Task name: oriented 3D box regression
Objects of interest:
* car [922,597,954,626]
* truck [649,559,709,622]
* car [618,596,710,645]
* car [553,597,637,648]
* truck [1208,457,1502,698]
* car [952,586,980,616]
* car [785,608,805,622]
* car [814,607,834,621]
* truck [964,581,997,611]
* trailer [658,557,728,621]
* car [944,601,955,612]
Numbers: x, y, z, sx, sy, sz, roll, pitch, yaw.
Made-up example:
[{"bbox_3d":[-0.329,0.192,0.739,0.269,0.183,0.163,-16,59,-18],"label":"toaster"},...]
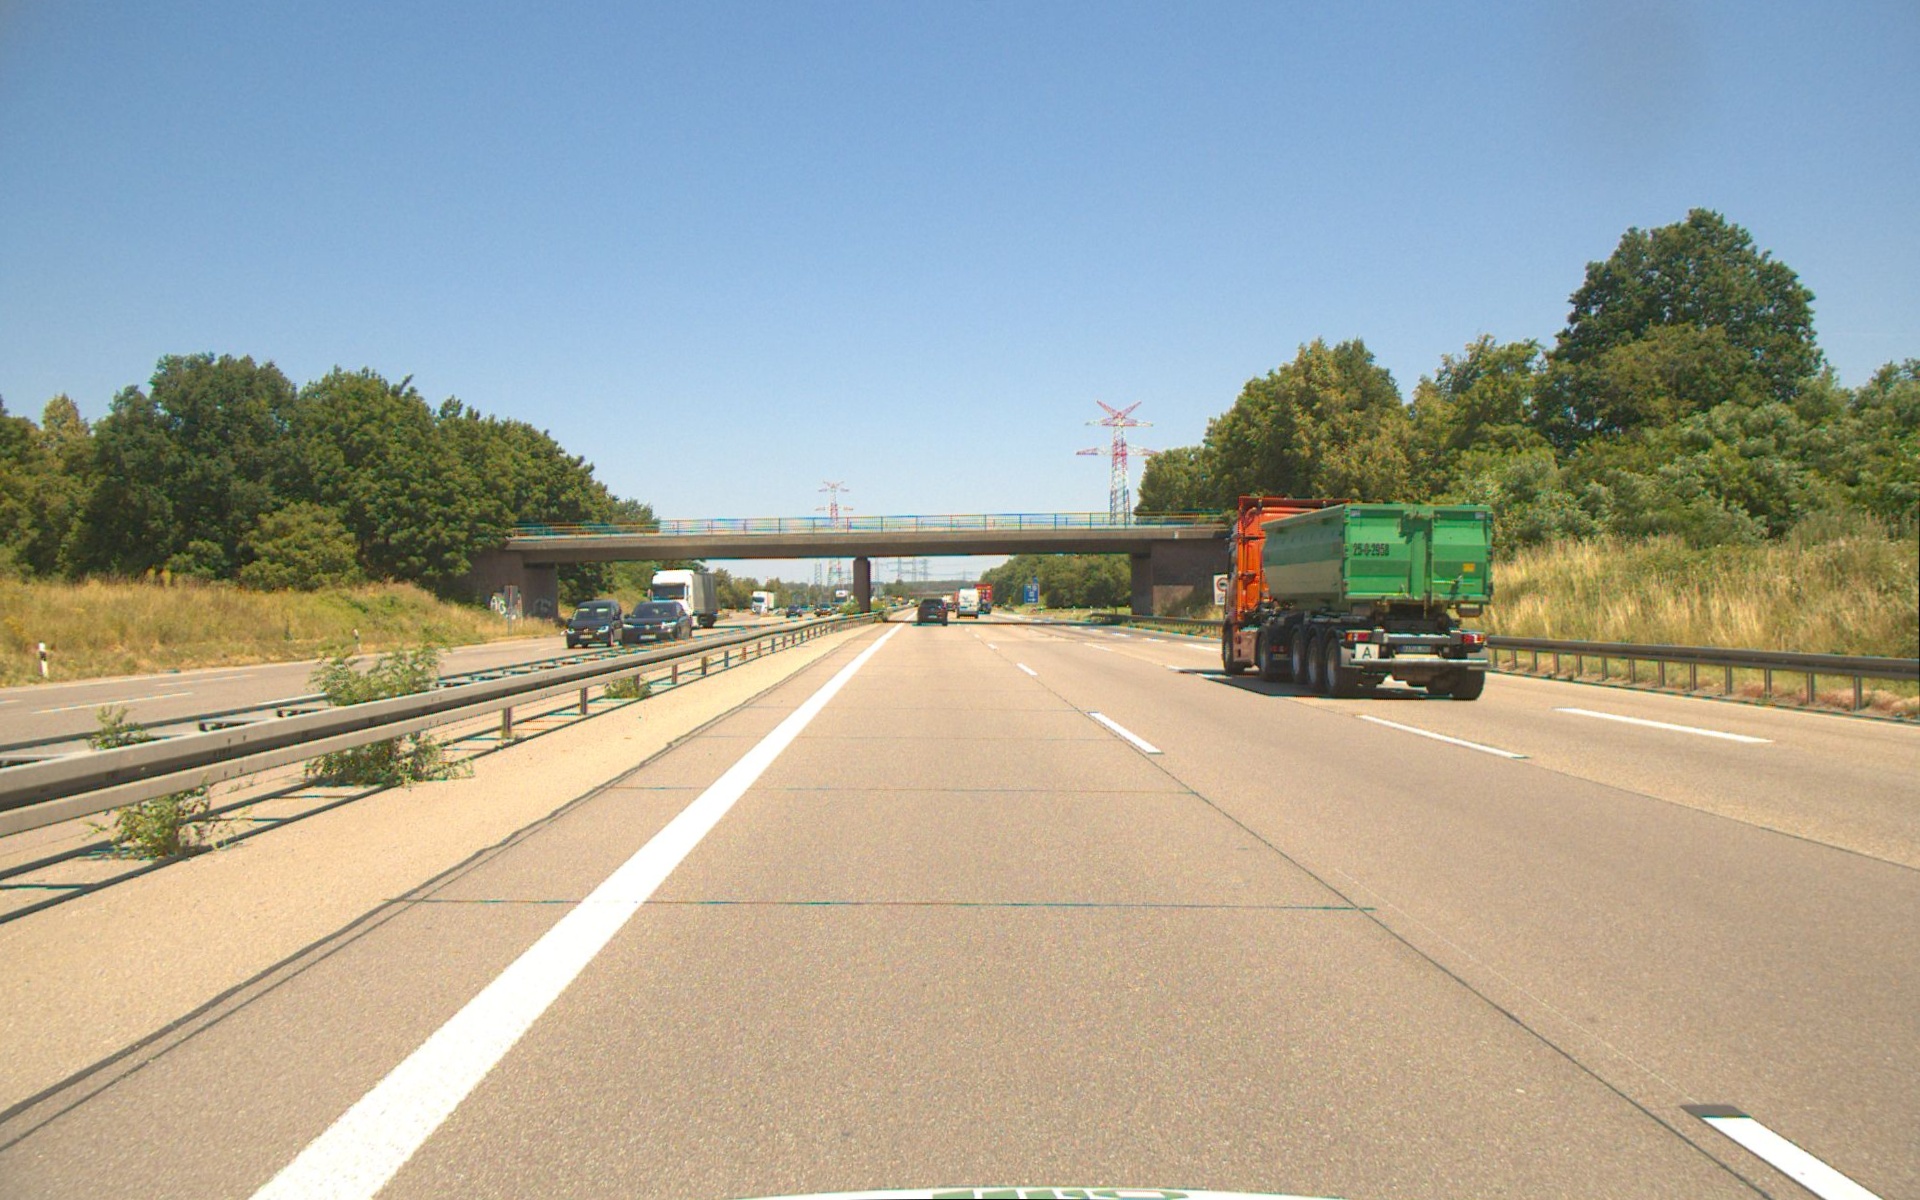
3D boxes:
[{"bbox_3d":[-1.435,0.702,105.818,1.953,1.780,3.999,1,0,-1],"label":"car"},{"bbox_3d":[-19.116,-0.645,112.965,2.889,4.029,6.951,-3,0,-1],"label":"truck"},{"bbox_3d":[-9.804,0.658,55.173,2.183,1.449,5.297,-2,0,-1],"label":"car"},{"bbox_3d":[-14.429,0.847,65.662,2.183,1.843,5.297,-2,0,-1],"label":"car"},{"bbox_3d":[7.342,-0.369,33.042,2.626,3.864,12.475,1,0,-1],"label":"truck"},{"bbox_3d":[0.550,0.055,159.591,2.568,2.807,6.095,1,0,-1],"label":"car"},{"bbox_3d":[-21.295,1.978,213.683,2.183,1.639,5.058,-2,0,-1],"label":"car"},{"bbox_3d":[-17.006,1.774,207.315,2.183,1.639,5.058,-2,0,-1],"label":"car"},{"bbox_3d":[2.794,-0.580,234.502,4.243,4.010,16.074,1,0,-1],"label":"truck"},{"bbox_3d":[-19.235,-0.772,119.995,2.889,4.179,14.099,-3,0,-1],"label":"trailer"},{"bbox_3d":[-1.582,0.955,249.256,1.712,1.662,4.002,1,0,-1],"label":"car"}]
